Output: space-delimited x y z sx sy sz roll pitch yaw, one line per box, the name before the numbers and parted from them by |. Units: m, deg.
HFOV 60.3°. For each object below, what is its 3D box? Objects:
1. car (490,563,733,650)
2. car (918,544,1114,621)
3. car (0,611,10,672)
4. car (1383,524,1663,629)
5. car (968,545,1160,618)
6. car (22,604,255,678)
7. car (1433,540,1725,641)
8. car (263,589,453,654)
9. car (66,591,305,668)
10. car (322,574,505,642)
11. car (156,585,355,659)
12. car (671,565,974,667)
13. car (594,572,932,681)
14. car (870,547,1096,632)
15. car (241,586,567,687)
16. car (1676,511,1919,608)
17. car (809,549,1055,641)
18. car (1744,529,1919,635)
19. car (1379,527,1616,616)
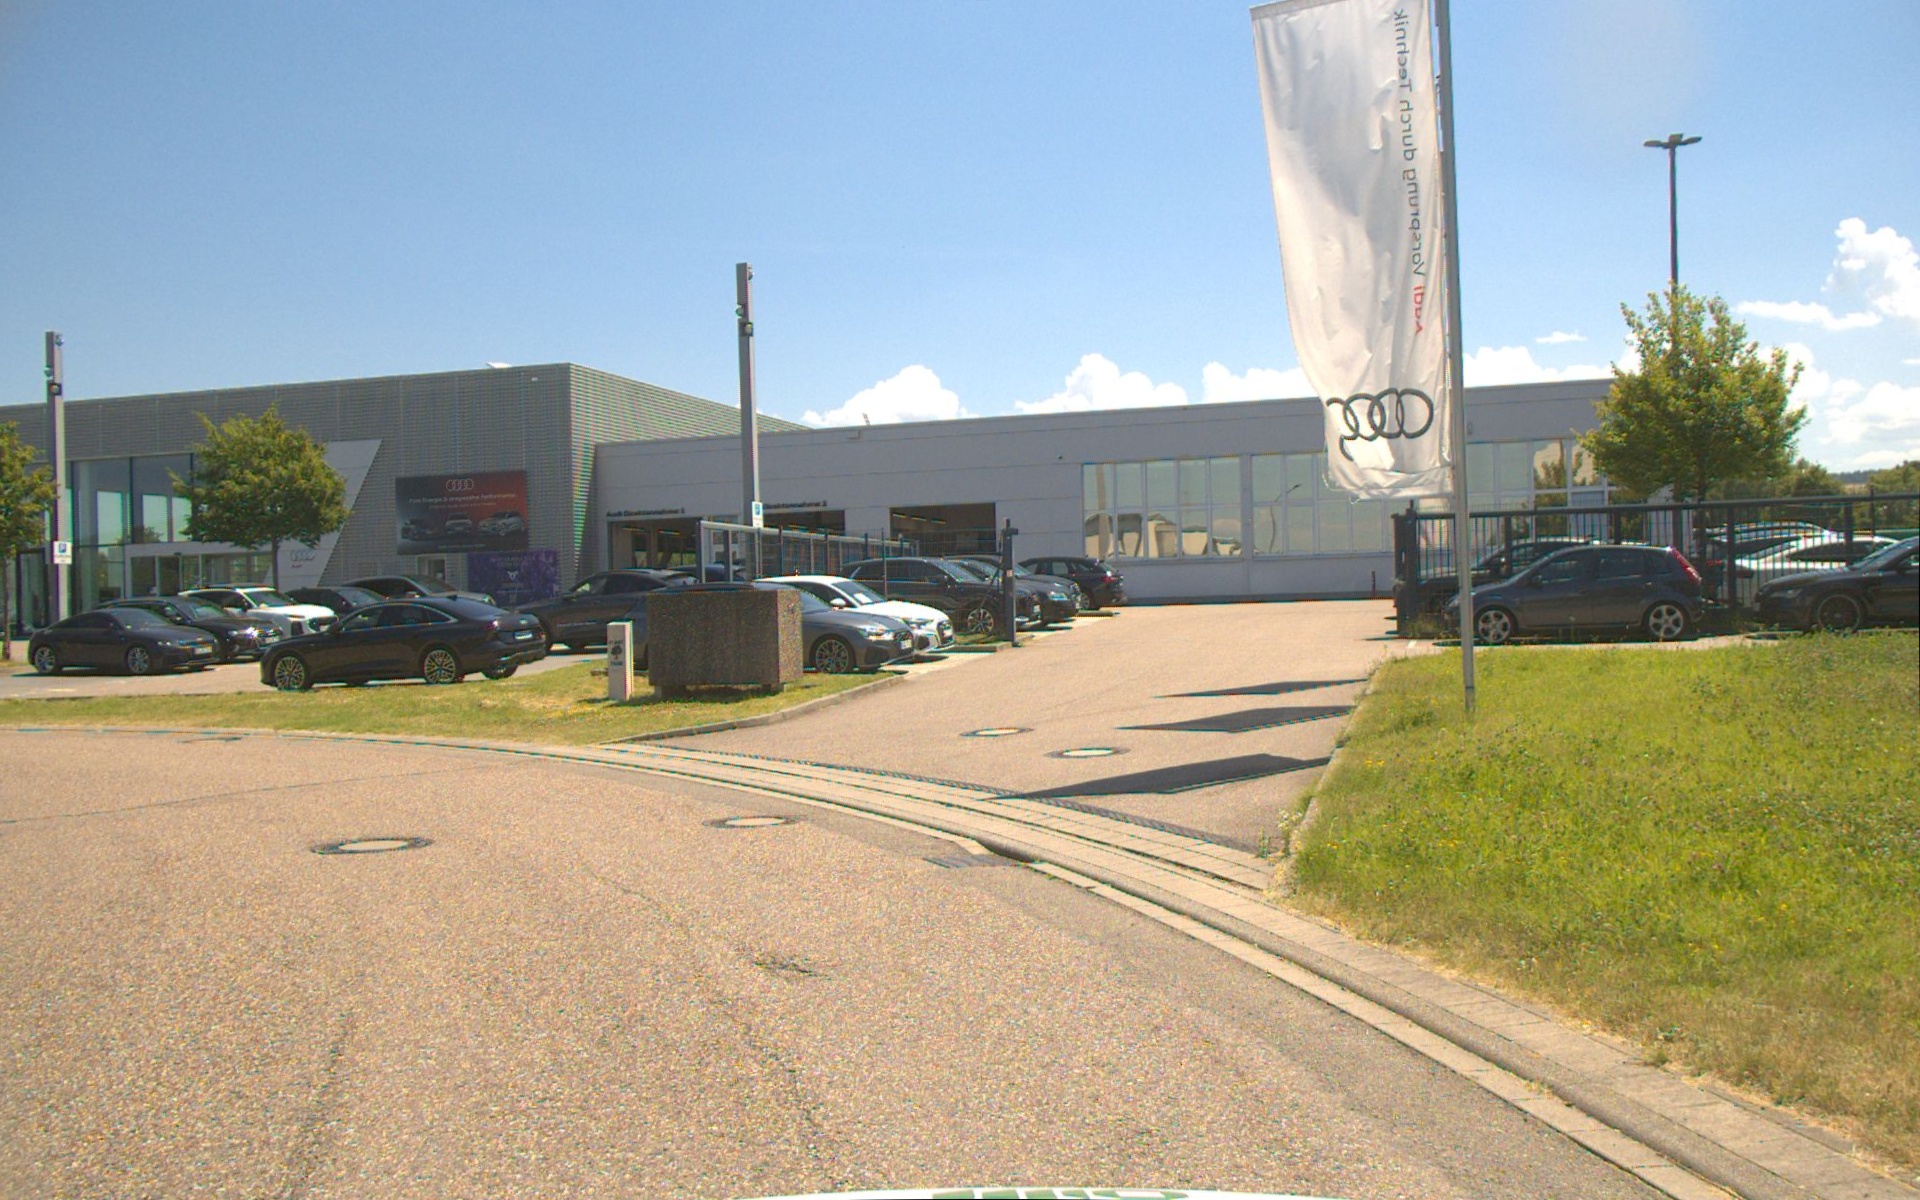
car | -7.353 0.139 34.995 4.669 1.672 1.831 -2 0 15
car | 1.349 -0.428 39.263 4.271 1.658 1.969 -2 1 15
car | -24.281 1.061 37.898 4.124 1.390 1.970 -2 2 15
car | 9.871 -0.410 29.340 4.513 1.658 1.969 -2 1 15
car | 2.673 -0.477 41.997 4.513 1.658 1.969 -2 1 15
car | -17.676 0.875 35.638 4.206 1.399 1.969 -2 1 15
car | 9.479 -0.147 25.588 4.045 1.373 1.781 -2 1 18
car | -15.734 0.560 43.280 4.265 1.502 1.969 -2 1 15
car | -17.974 0.679 38.450 4.883 1.580 1.969 -2 1 15
car | -15.613 0.227 47.337 4.613 1.769 1.969 -2 1 15
car | -17.405 0.527 40.921 4.184 1.641 1.969 -2 1 15
car | -2.347 0.273 28.515 4.824 1.555 1.827 -2 1 16
car | -3.047 0.402 25.864 4.824 1.493 1.969 -2 1 15
car | 0.527 -0.236 35.833 4.513 1.658 1.969 -2 1 15
car | -9.272 0.603 27.661 4.901 1.480 1.887 -1 2 15
car | 16.380 -0.764 32.298 4.110 1.658 1.797 -2 0 15
car | -0.532 -0.115 33.154 4.513 1.658 1.969 -2 1 15
car | 13.936 -0.309 23.911 4.463 1.426 1.781 -2 1 19
car | 11.080 -0.584 34.384 4.513 1.658 1.969 -2 1 15
